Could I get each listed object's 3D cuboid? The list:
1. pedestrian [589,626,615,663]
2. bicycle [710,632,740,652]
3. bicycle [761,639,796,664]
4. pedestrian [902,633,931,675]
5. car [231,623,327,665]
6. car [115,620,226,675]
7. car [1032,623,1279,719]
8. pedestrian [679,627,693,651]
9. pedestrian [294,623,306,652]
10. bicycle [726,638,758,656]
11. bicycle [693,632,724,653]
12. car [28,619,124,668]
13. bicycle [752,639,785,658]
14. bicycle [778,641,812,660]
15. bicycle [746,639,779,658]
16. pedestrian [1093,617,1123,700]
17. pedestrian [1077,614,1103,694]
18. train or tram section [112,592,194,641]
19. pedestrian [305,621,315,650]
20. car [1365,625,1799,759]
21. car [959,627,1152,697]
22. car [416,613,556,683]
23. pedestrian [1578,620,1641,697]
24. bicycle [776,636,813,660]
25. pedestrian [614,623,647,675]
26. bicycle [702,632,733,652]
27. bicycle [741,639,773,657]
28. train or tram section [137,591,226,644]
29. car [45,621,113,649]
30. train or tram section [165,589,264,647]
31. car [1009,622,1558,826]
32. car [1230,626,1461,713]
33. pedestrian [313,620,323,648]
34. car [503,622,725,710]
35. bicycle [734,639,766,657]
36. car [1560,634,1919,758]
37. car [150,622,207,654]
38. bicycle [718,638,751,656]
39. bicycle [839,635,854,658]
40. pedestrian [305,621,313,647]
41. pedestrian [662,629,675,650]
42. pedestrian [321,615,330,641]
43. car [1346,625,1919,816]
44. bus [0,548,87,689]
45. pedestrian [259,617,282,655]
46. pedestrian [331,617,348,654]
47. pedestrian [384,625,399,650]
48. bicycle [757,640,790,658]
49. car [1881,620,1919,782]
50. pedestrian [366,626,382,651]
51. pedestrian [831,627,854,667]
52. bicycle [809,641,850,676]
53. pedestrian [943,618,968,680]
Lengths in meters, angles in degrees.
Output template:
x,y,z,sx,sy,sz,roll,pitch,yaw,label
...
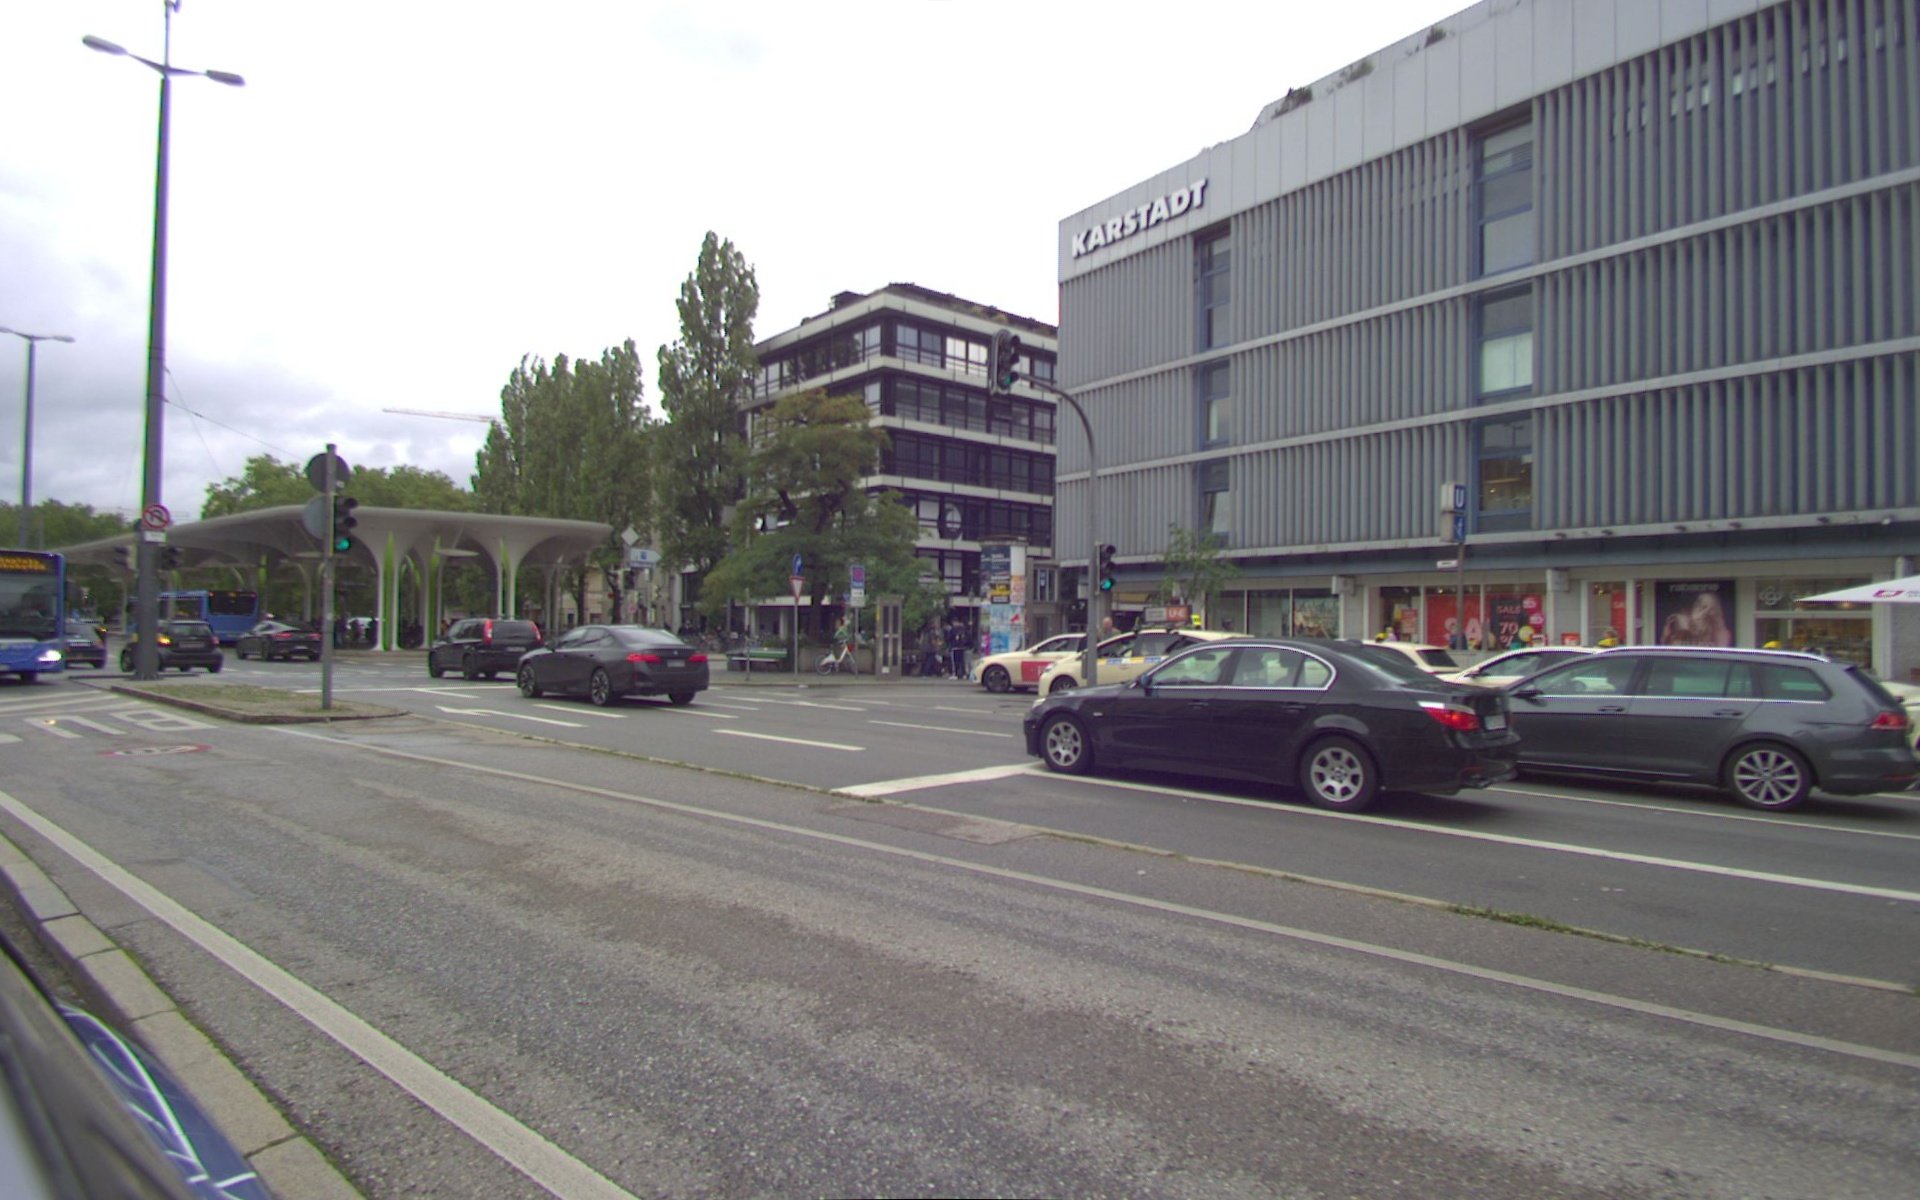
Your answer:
x,y,z,sx,sy,sz,roll,pitch,yaw,label
-17.671,2.174,49.969,0.980,1.791,0.849,-1,-2,42,pedestrian
-13.549,2.425,58.356,1.655,1.106,0.472,0,-2,7,bicycle
-7.818,2.198,43.453,1.750,1.006,0.503,-1,-2,42,bicycle
-1.397,1.738,32.772,0.773,1.318,0.537,-1,-2,42,pedestrian
-27.331,1.730,40.563,4.613,1.589,1.973,-1,-2,40,car
-23.134,1.364,29.658,2.776,1.518,1.547,0,-2,28,car
3.633,1.265,19.337,4.474,1.624,1.570,-1,-2,41,car
-20.239,2.879,74.766,0.821,1.712,0.907,1,-2,-27,pedestrian
-34.887,1.980,53.463,0.419,1.514,0.491,1,-2,-23,pedestrian
-14.016,3.039,65.141,2.044,1.142,0.561,2,-3,-44,bicycle
-13.767,2.308,55.434,1.660,1.106,0.470,0,-2,17,bicycle
-28.068,1.376,32.115,3.382,1.491,1.608,-1,-3,37,car
-11.968,3.032,63.214,2.044,1.142,0.561,2,-3,-44,bicycle
-9.905,3.025,60.919,2.044,1.142,0.561,2,-3,-44,bicycle
-12.391,3.034,63.661,2.044,1.142,0.561,2,-3,-44,bicycle
3.207,1.246,21.866,0.428,1.742,0.518,0,0,40,pedestrian
2.752,1.130,21.388,0.425,1.668,0.360,0,0,40,pedestrian
-52.912,1.091,66.271,7.403,3.024,2.804,-1,-2,41,train or tram section
-34.559,1.874,53.790,0.316,1.514,0.317,-1,-2,32,pedestrian
8.492,1.139,14.274,1.921,1.552,4.856,2,-2,-39,car
2.275,1.431,24.338,4.276,1.522,1.843,-1,-2,27,car
-13.304,1.301,28.280,4.599,1.791,1.971,-1,-2,43,car
13.543,1.209,21.108,0.722,1.557,0.901,2,-2,-36,pedestrian
-7.253,2.091,44.417,1.925,1.006,0.503,-1,-2,42,bicycle
-10.260,1.513,31.480,0.754,1.563,0.636,0,0,16,pedestrian
-13.670,2.355,57.091,1.655,1.106,0.472,0,-2,7,bicycle
-12.843,3.035,64.085,2.044,1.142,0.561,2,-3,-44,bicycle
-47.312,1.069,61.404,7.403,3.024,2.804,-1,-2,41,train or tram section
-46.756,1.843,53.691,4.611,1.427,1.973,-1,-2,40,car
-41.714,1.045,56.536,7.403,3.024,2.804,-1,-2,41,train or tram section
2.861,0.982,9.769,4.735,1.498,1.815,-1,-3,43,car
7.765,1.330,20.586,4.000,1.579,1.885,-1,-2,43,car
-34.119,1.798,53.780,0.316,1.514,0.331,-1,-2,31,pedestrian
-6.920,1.215,19.942,5.021,1.519,1.972,-1,-3,43,car
-13.390,3.037,64.580,2.044,1.142,0.561,2,-3,-44,bicycle
11.451,1.304,15.068,1.730,1.548,4.006,2,-2,-41,car
-39.134,1.888,50.641,2.744,1.527,1.653,-1,-2,39,car
-14.640,3.042,65.700,2.044,1.142,0.561,2,-3,-44,bicycle
-5.121,2.085,45.669,0.503,1.006,1.926,0,-2,-2,bicycle
-34.319,1.789,53.353,0.312,1.353,0.340,2,-2,-32,pedestrian
-24.365,3.284,84.615,0.788,1.737,0.828,2,-2,-38,pedestrian
-33.732,1.499,53.771,0.270,1.387,0.299,-1,-2,38,pedestrian
6.862,1.060,10.582,4.946,1.558,1.938,-1,-3,42,car
-24.743,0.410,24.770,11.196,2.966,2.906,0,-1,38,bus
-32.988,1.715,48.426,0.787,1.762,0.702,-1,-3,40,pedestrian
-31.433,1.795,51.282,0.656,1.865,0.790,2,-2,-29,pedestrian
-31.034,2.036,55.254,0.591,1.348,0.542,-1,-2,40,pedestrian
-11.537,3.031,62.789,2.044,1.142,0.561,2,-3,-44,bicycle
12.076,1.079,9.825,1.861,1.711,4.391,3,-3,-38,car
-31.713,2.076,54.794,0.591,1.348,0.542,-1,-2,40,pedestrian
-5.182,2.082,44.711,0.647,1.748,0.757,-1,-2,33,pedestrian
-3.934,1.758,30.631,0.419,1.024,1.281,-1,-3,39,bicycle
-0.134,1.421,29.515,0.510,1.792,0.555,0,0,44,pedestrian
